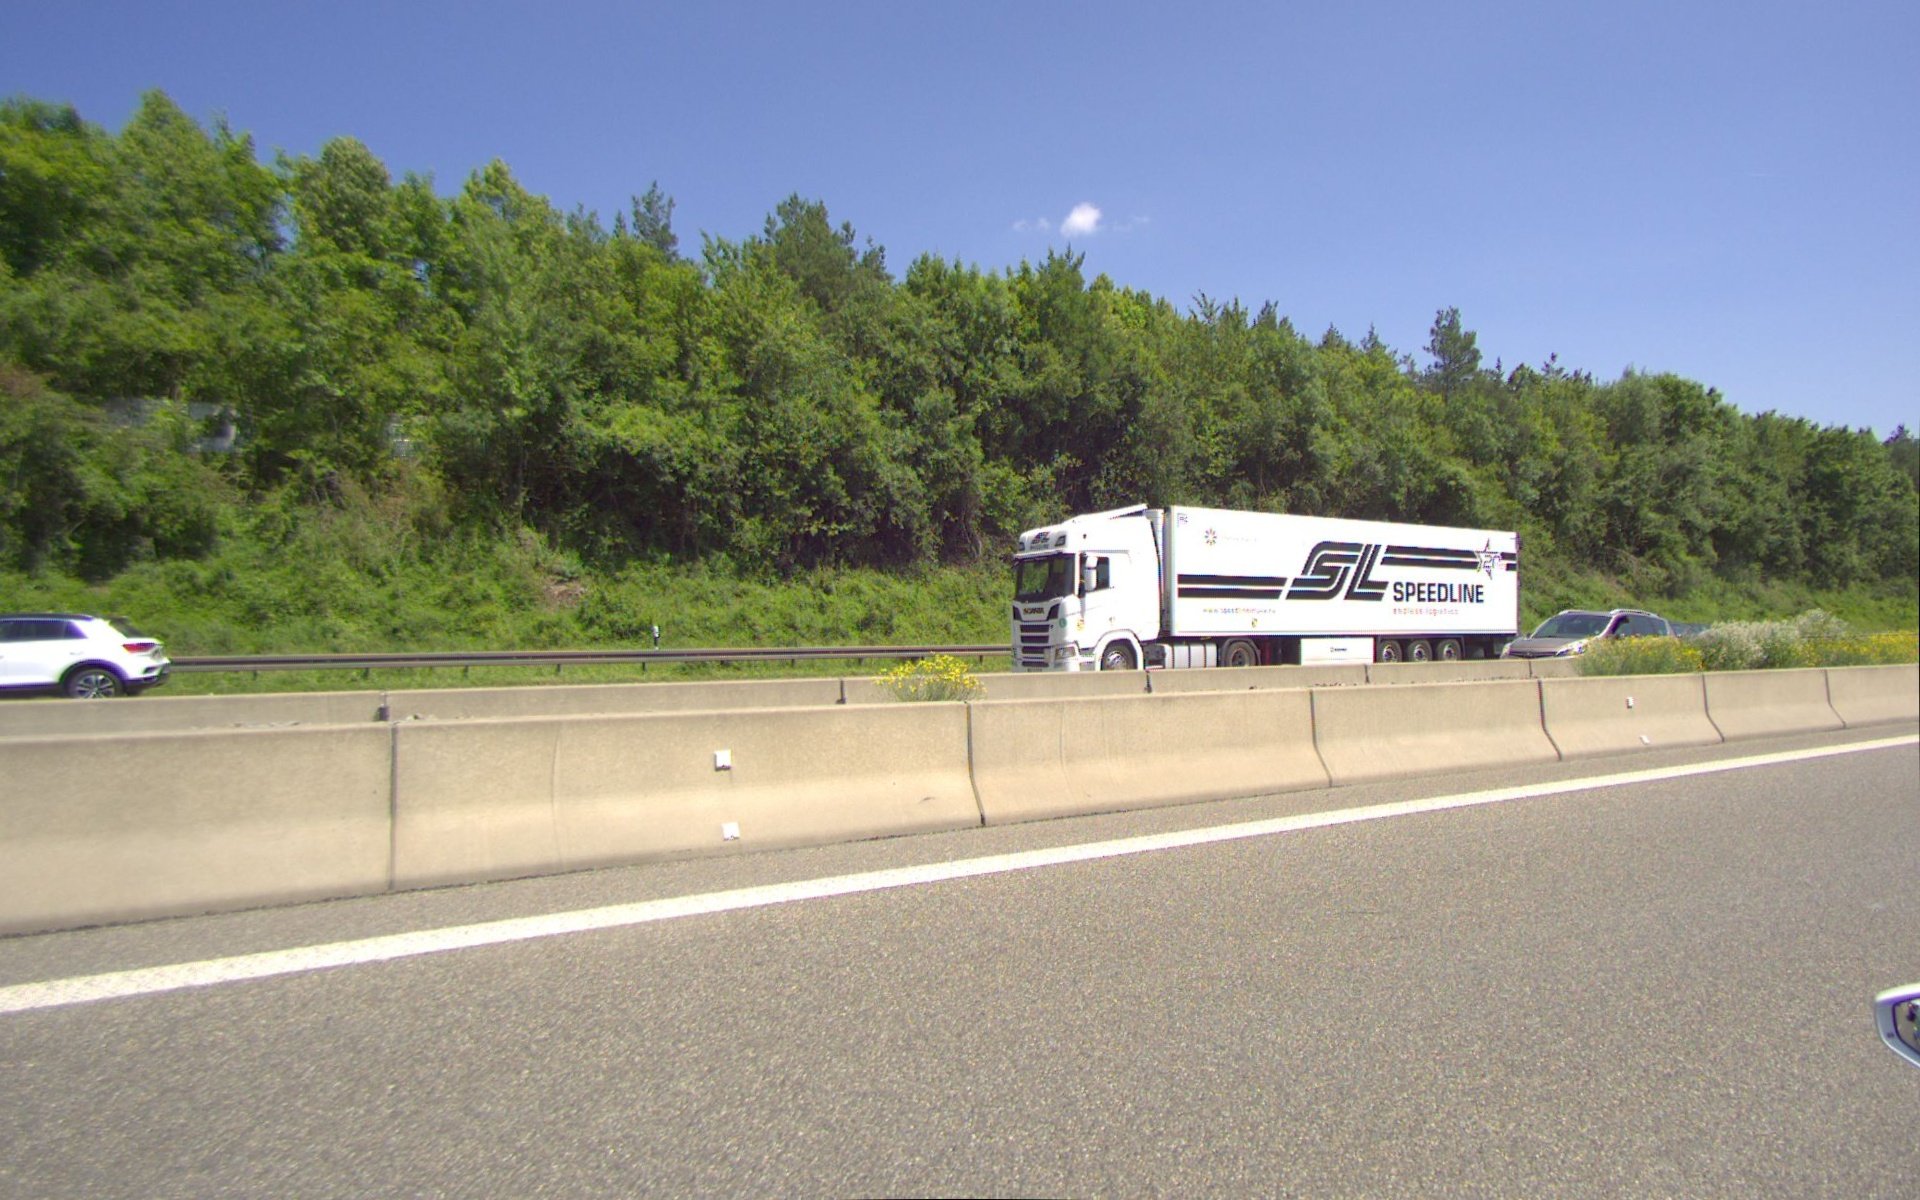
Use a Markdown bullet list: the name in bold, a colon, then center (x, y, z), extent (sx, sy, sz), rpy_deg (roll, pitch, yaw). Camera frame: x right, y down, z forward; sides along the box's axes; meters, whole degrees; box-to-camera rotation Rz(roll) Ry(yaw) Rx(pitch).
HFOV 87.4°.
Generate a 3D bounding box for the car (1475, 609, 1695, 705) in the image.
- **car**: center (12.958, 1.165, 20.760), extent (4.732, 1.779, 1.875), rpy_deg (2, -3, -30)

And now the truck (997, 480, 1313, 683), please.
- **truck**: center (4.796, -0.253, 24.062), extent (7.511, 4.219, 2.790), rpy_deg (2, -2, -31)

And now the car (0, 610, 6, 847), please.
- **car**: center (-4.863, 0.691, 1.485), extent (4.673, 1.446, 1.725), rpy_deg (1, -2, -30)

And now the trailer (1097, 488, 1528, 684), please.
- **trailer**: center (10.048, -0.087, 27.195), extent (13.874, 4.395, 2.790), rpy_deg (2, -2, -31)

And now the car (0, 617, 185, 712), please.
- **car**: center (-15.339, 1.016, 16.313), extent (4.141, 1.486, 1.659), rpy_deg (1, -1, -30)
